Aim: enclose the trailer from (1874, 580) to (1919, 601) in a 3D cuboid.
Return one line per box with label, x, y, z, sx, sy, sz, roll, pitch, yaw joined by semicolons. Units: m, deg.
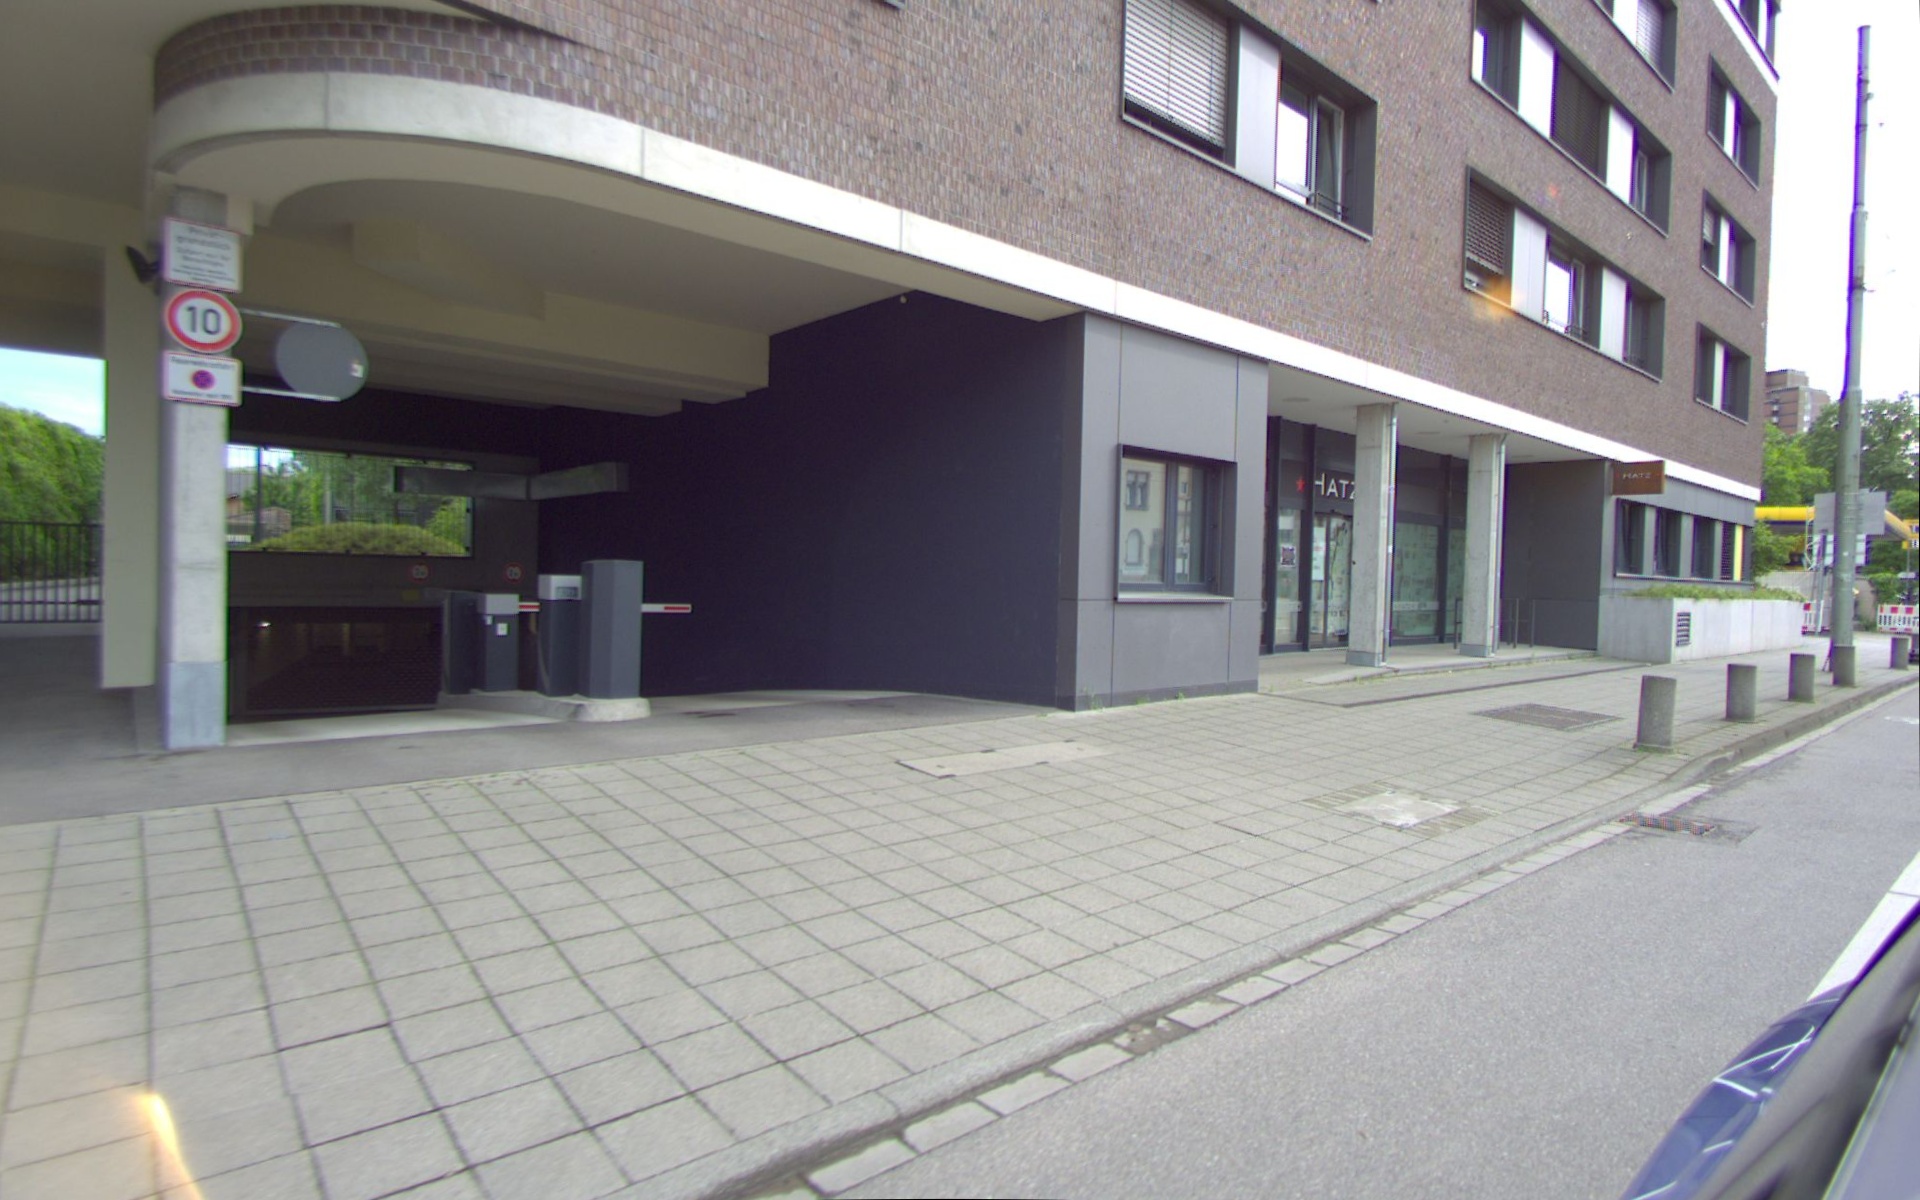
trailer;78.969;-0.836;84.936;3.283;1.549;1.747;4;6;43
